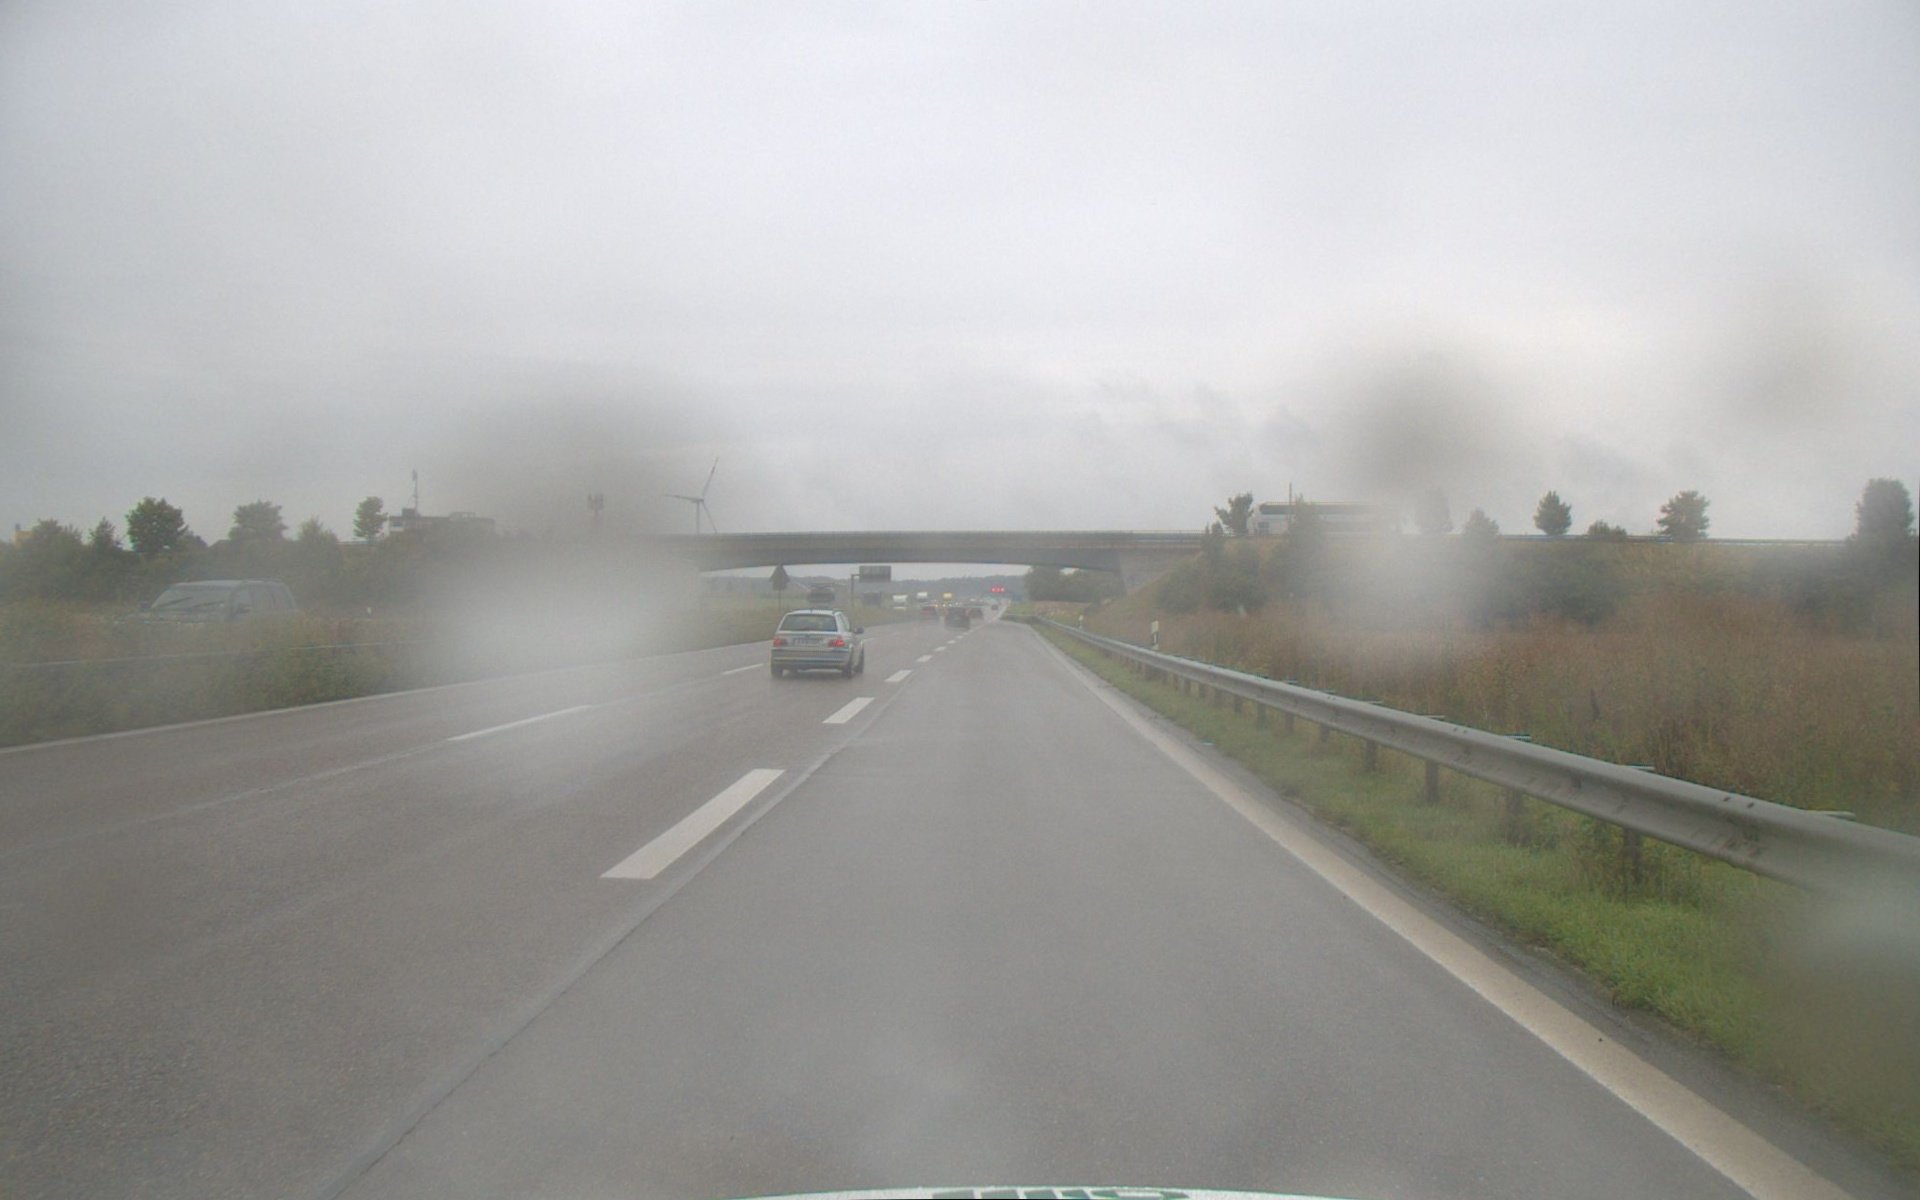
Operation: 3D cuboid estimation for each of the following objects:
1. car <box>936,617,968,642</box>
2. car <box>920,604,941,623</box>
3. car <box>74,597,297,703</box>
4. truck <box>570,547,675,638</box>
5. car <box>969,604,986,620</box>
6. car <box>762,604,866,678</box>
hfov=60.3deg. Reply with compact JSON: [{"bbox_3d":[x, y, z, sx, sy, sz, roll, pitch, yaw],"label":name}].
[{"bbox_3d":[-0.555,2.037,114.780,2.101,1.665,4.595,1,-1,1],"label":"car"},{"bbox_3d":[-2.961,1.341,167.238,1.952,1.780,4.001,-2,2,1],"label":"car"},{"bbox_3d":[-14.876,0.905,32.092,2.061,1.908,4.700,0,0,1],"label":"car"},{"bbox_3d":[-17.520,-0.334,86.610,3.162,4.462,10.514,0,0,1],"label":"truck"},{"bbox_3d":[2.023,1.408,193.951,1.952,1.727,4.001,-2,2,1],"label":"car"},{"bbox_3d":[-3.129,0.870,36.278,1.835,1.514,4.795,0,-1,0],"label":"car"}]
